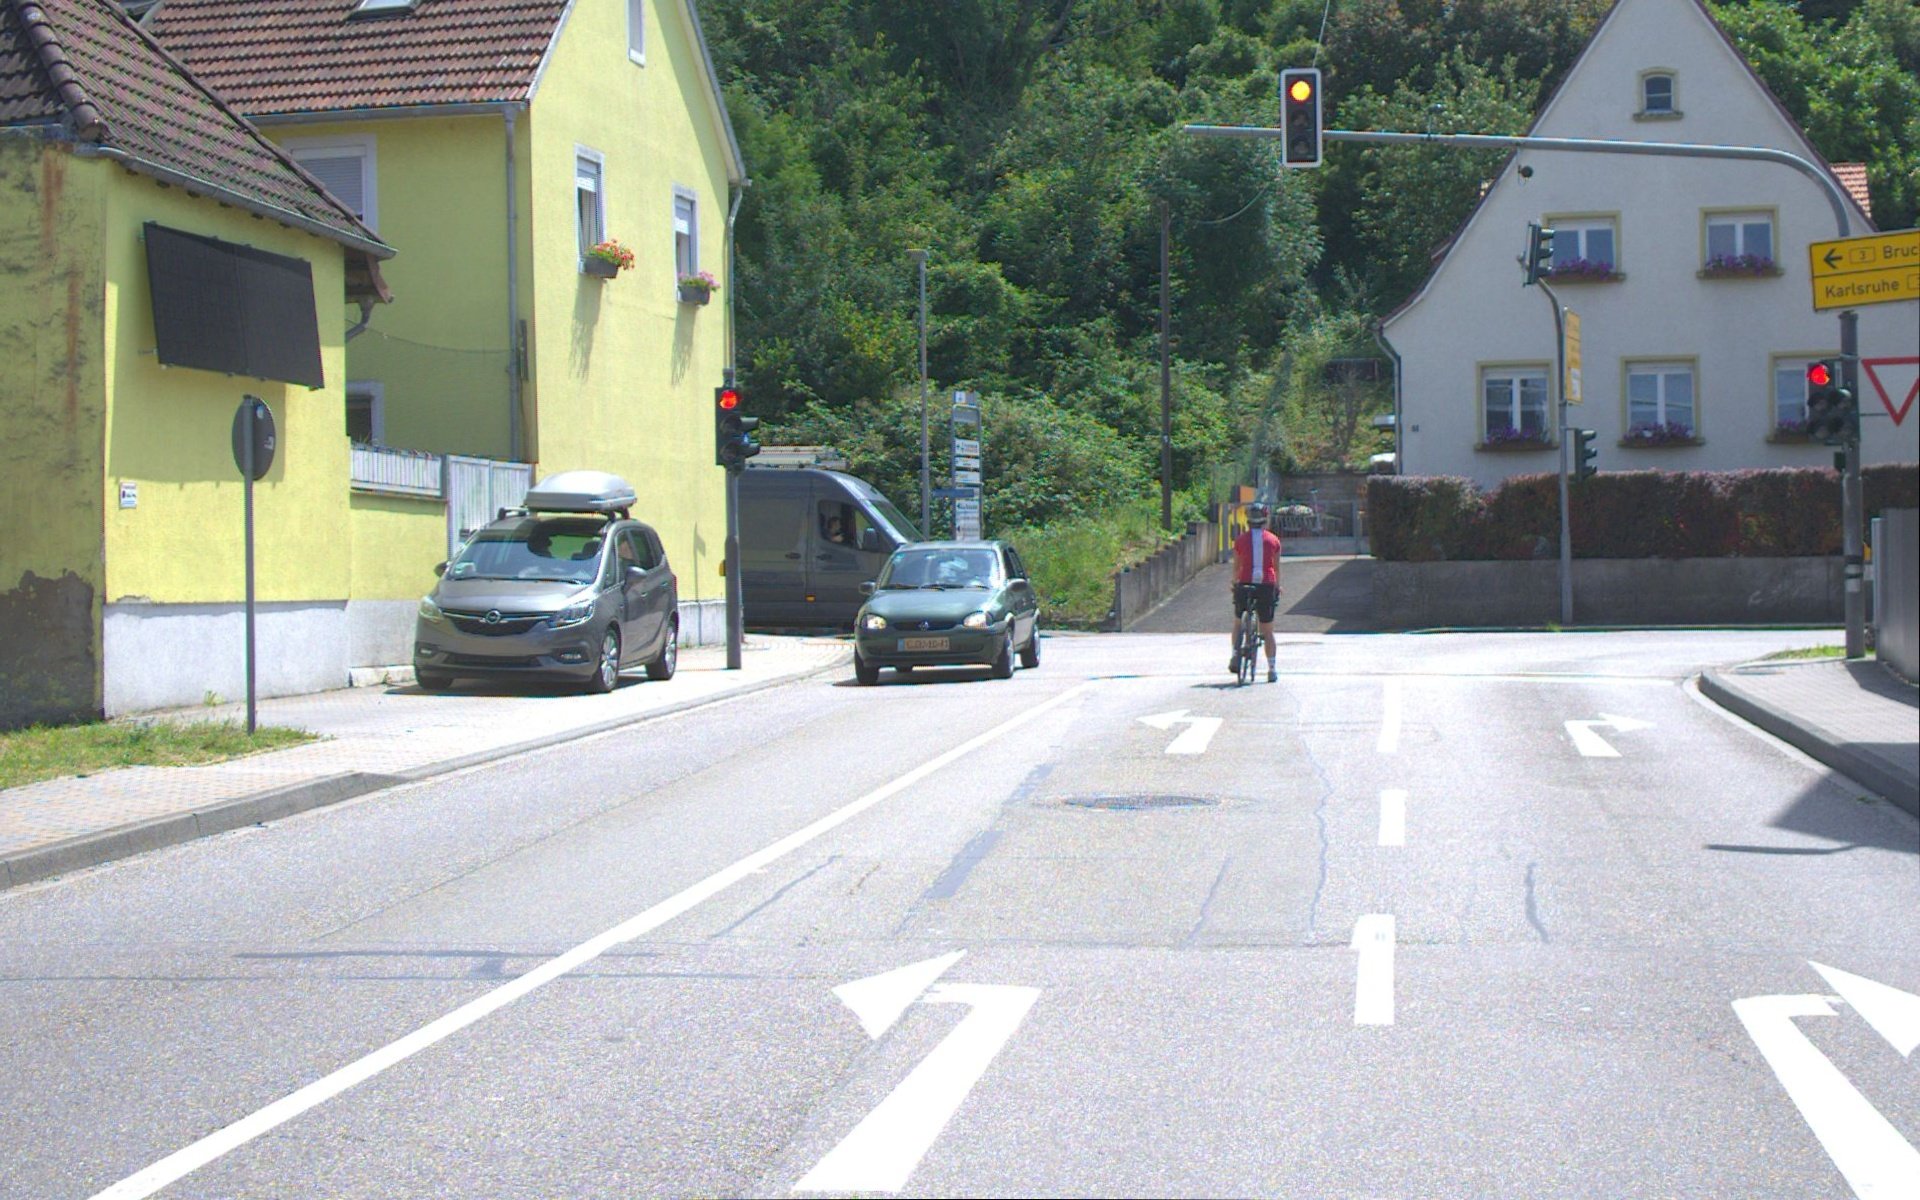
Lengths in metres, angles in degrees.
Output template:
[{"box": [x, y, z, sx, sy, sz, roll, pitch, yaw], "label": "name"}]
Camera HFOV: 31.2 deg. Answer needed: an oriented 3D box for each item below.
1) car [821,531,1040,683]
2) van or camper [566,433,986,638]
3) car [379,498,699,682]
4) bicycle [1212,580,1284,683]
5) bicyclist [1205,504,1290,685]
[{"box": [-0.246, 0.029, 35.637, 1.780, 1.428, 3.871, -2, 1, 6], "label": "car"}, {"box": [-2.791, -0.959, 52.549, 5.997, 2.994, 2.217, 0, 1, 15], "label": "van or camper"}, {"box": [-3.982, -0.137, 33.365, 1.994, 1.630, 4.629, 1, 1, 7], "label": "car"}, {"box": [2.685, 0.280, 31.925, 0.630, 0.902, 1.657, 1, 1, 6], "label": "bicycle"}, {"box": [2.679, -0.059, 32.012, 0.761, 1.659, 0.868, 1, 1, 6], "label": "bicyclist"}]
